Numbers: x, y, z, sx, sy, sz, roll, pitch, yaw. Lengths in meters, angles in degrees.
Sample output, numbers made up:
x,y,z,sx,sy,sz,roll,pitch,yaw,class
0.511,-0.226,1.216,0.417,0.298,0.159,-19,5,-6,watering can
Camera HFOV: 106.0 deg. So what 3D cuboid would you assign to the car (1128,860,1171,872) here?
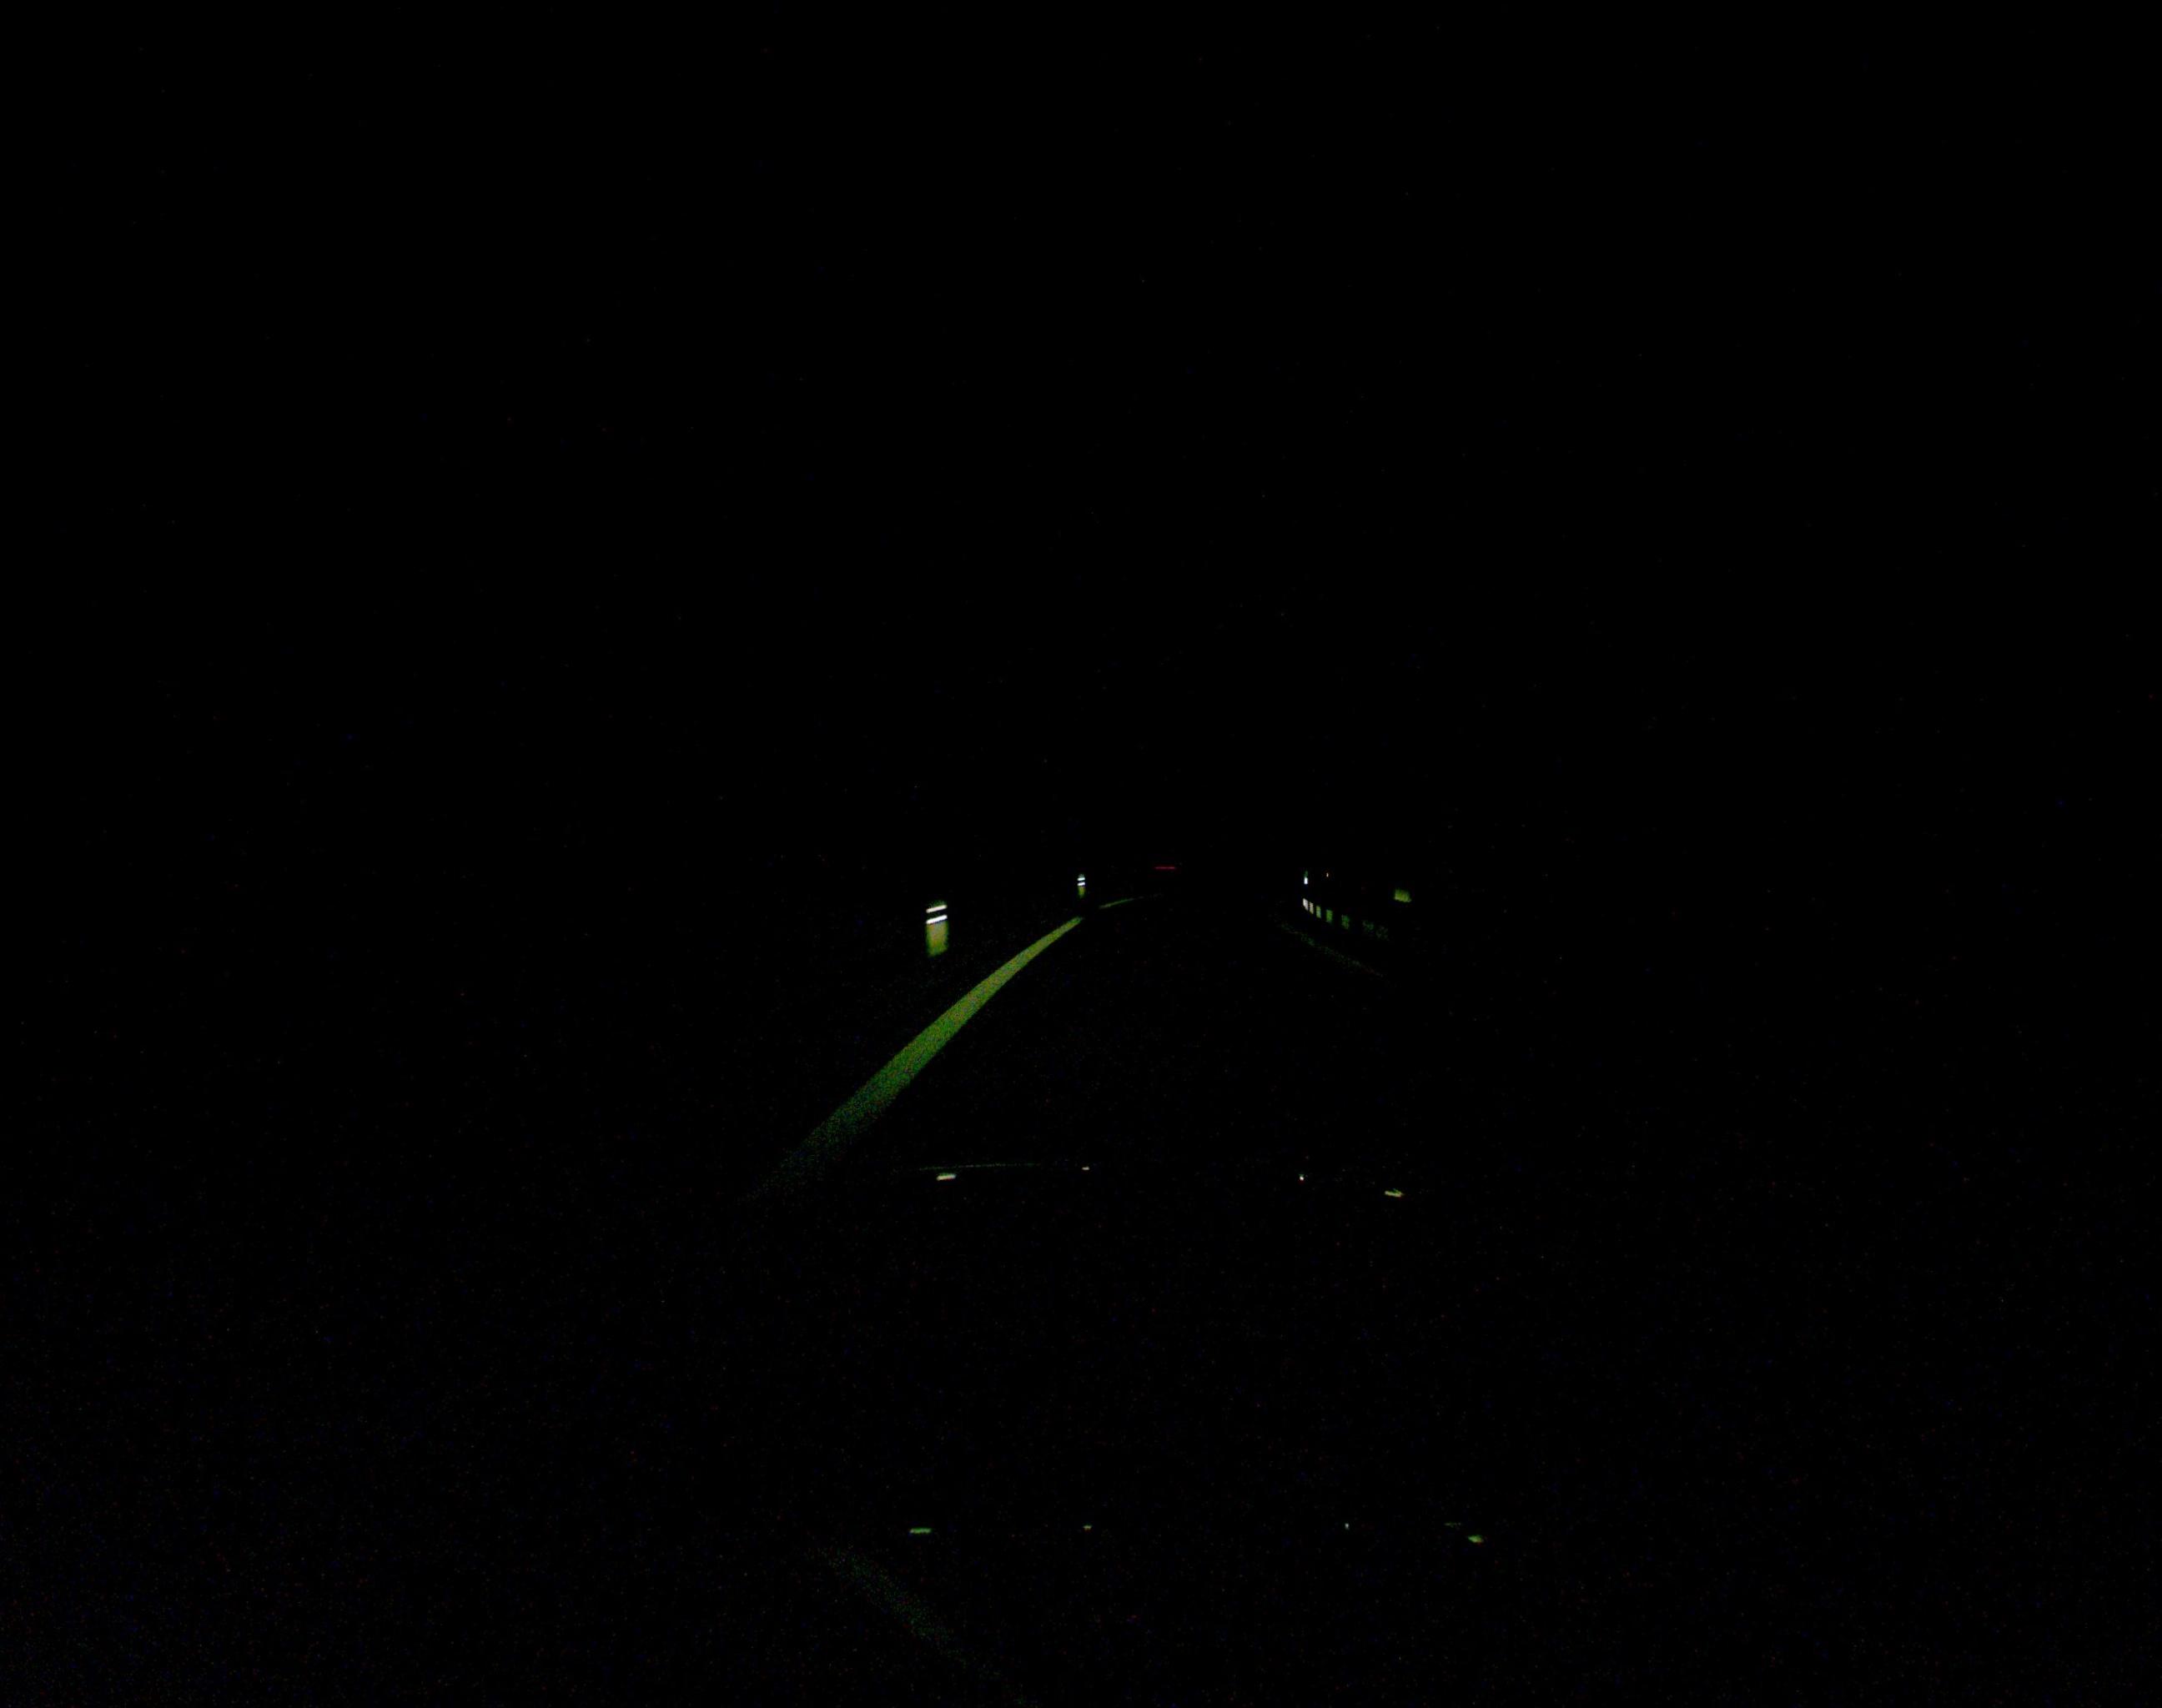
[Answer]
x,y,z,sx,sy,sz,roll,pitch,yaw,class
6.670,1.159,79.213,4.011,1.059,1.549,1,0,-30,car
